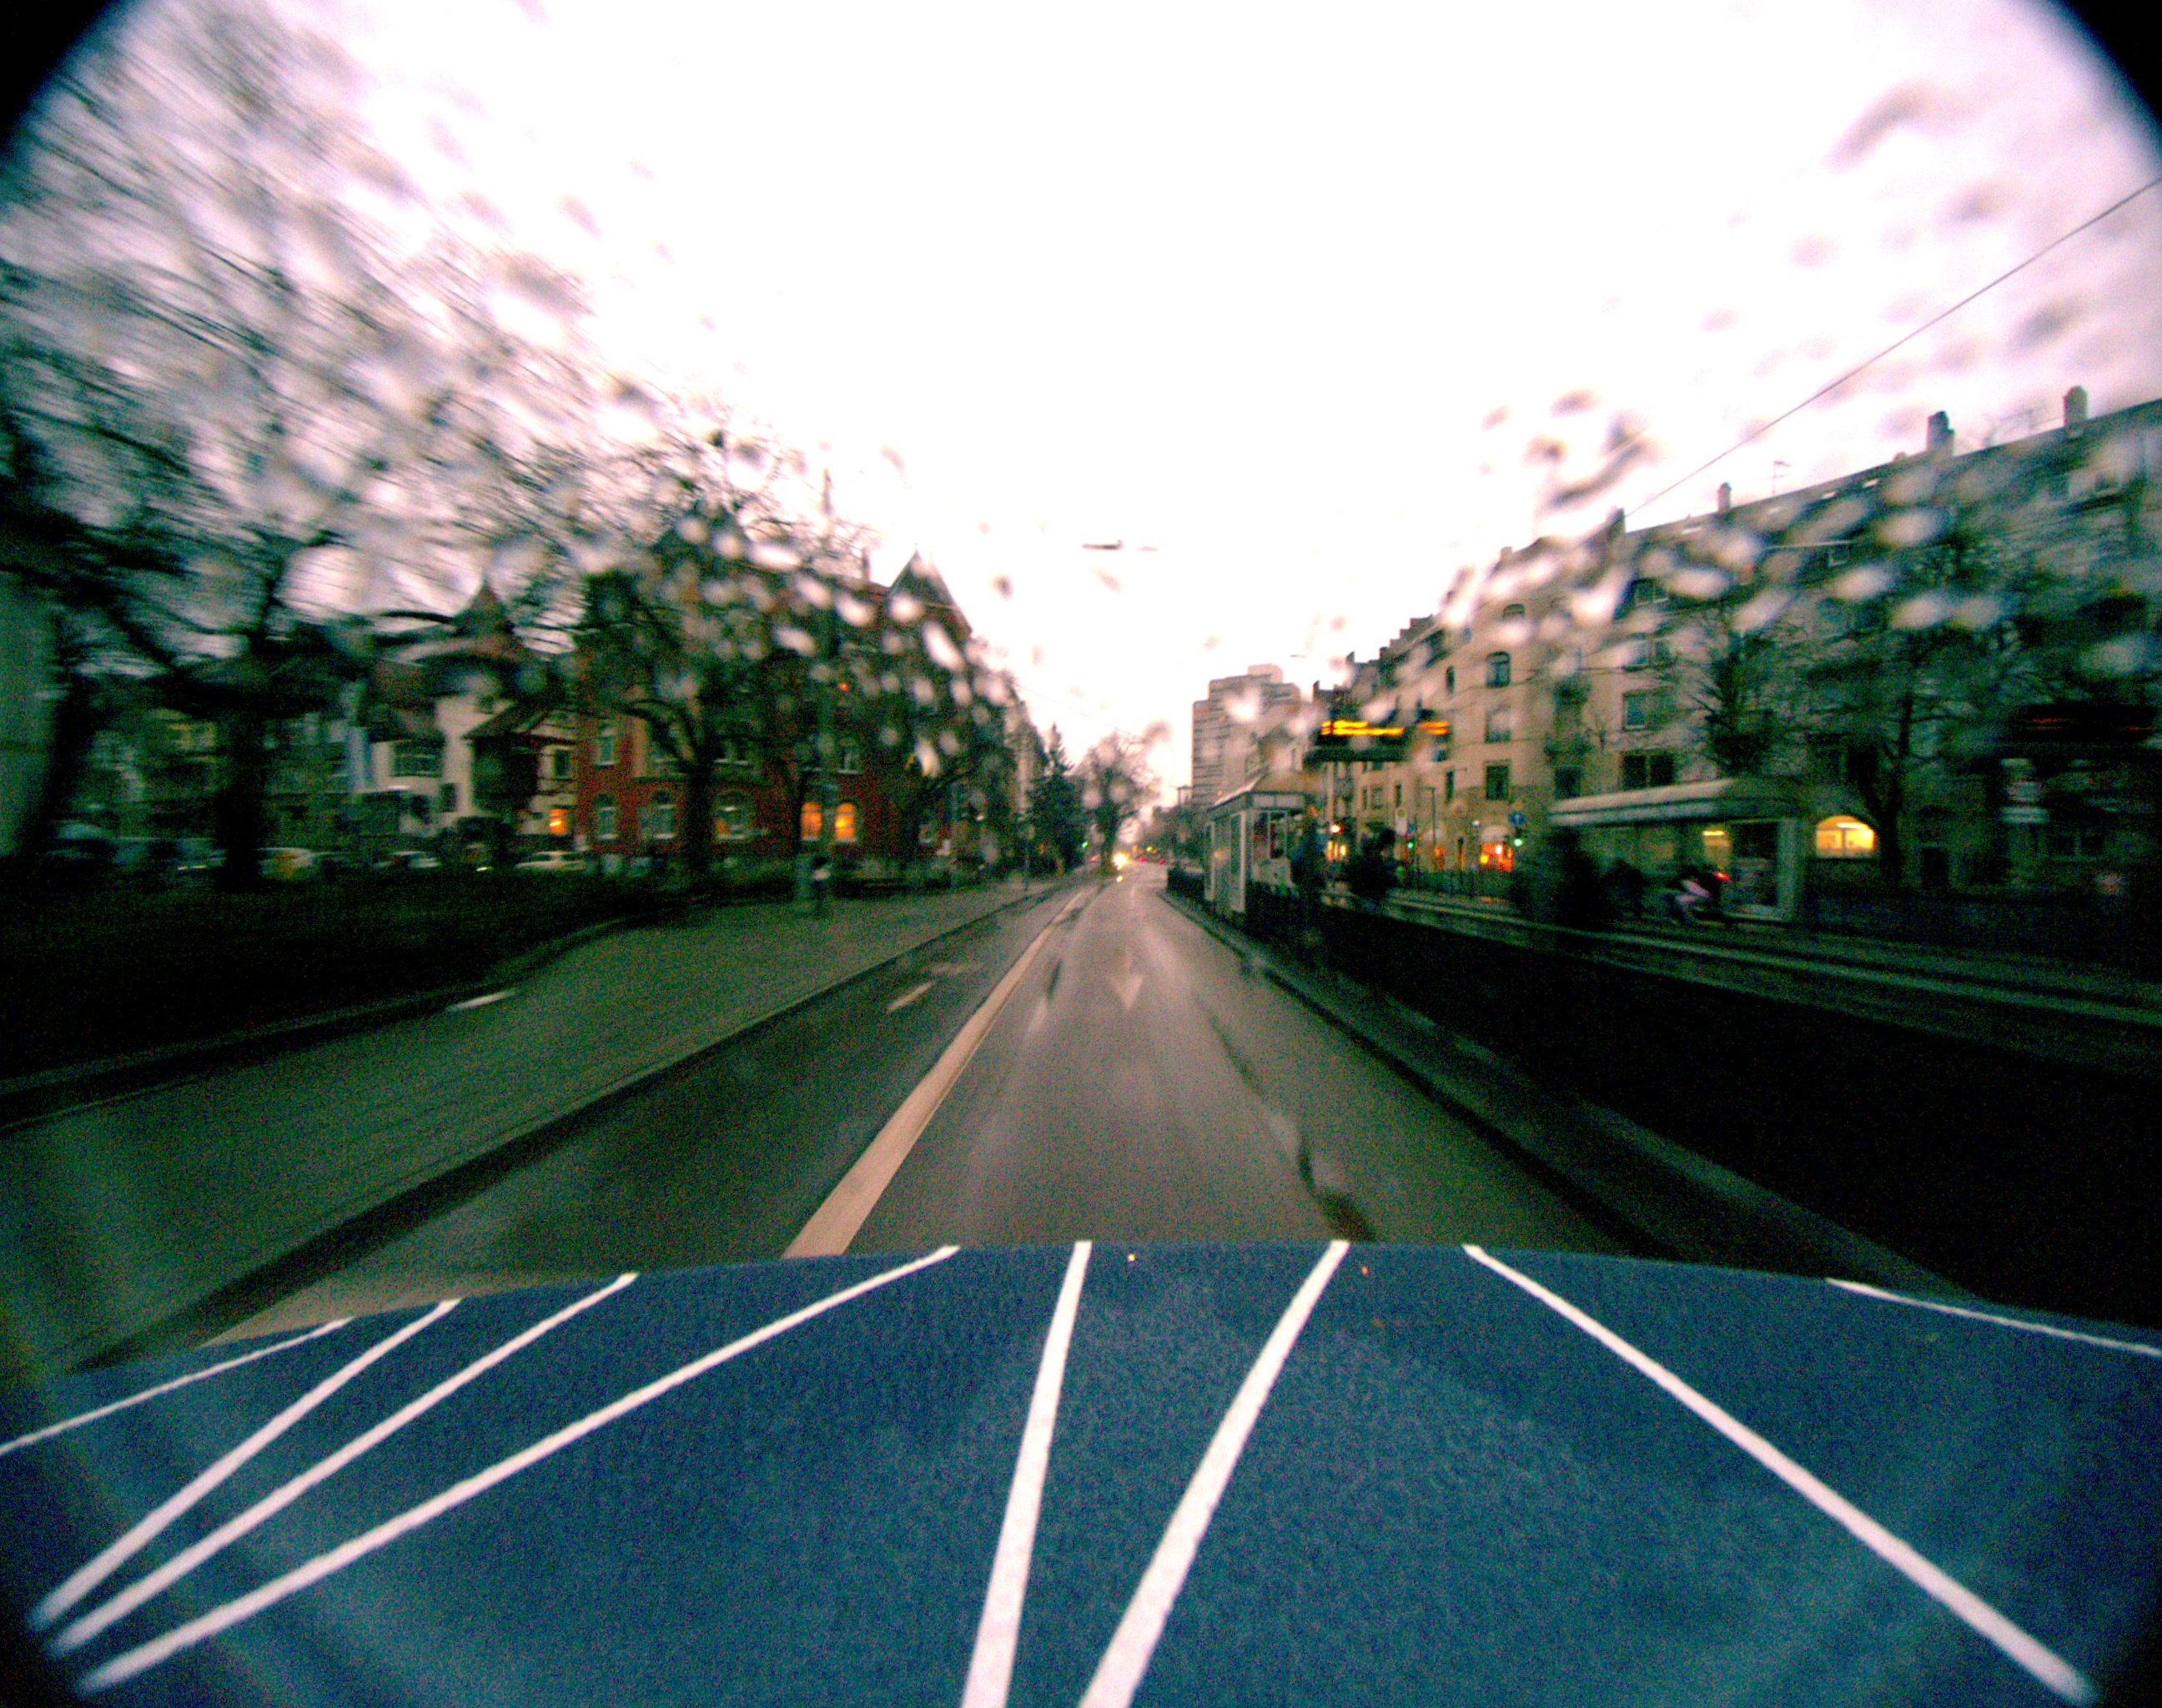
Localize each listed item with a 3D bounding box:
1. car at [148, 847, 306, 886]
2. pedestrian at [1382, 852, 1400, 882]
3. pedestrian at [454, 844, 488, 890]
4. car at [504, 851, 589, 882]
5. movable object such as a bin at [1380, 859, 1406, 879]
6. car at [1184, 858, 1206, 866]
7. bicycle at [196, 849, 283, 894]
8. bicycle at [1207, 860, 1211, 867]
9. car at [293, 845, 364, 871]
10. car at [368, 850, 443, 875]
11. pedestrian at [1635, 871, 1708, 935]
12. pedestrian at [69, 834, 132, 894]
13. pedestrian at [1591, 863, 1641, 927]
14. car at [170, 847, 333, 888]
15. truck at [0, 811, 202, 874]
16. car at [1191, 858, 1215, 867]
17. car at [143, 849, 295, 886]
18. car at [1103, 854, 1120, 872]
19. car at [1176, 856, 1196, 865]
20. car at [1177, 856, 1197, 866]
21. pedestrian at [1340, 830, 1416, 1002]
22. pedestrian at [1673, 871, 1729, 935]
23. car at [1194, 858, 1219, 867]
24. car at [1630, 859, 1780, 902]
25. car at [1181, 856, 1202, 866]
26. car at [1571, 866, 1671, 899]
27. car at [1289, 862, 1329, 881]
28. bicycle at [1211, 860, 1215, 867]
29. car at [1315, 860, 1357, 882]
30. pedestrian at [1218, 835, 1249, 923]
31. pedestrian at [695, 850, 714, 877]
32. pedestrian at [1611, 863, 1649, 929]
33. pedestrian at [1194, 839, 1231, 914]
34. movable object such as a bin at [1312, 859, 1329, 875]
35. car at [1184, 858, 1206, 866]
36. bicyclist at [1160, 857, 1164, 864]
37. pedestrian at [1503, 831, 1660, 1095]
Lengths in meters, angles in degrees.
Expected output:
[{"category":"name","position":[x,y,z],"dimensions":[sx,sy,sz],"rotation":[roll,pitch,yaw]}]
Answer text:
[{"category":"car","position":[-34.865,0.503,31.147],"dimensions":[1.846,1.467,4.008],"rotation":[1,0,30]},{"category":"pedestrian","position":[20.157,0.855,49.353],"dimensions":[0.796,1.867,0.896],"rotation":[-2,1,38]},{"category":"pedestrian","position":[-25.081,0.510,31.264],"dimensions":[0.876,1.853,0.816],"rotation":[1,1,29]},{"category":"car","position":[-27.385,0.627,38.918],"dimensions":[3.990,1.487,1.650],"rotation":[1,0,22]},{"category":"movable object such as a bin","position":[23.193,1.116,56.563],"dimensions":[1.352,1.364,1.281],"rotation":[-2,0,1]},{"category":"car","position":[20.701,1.470,138.278],"dimensions":[3.839,1.405,1.728],"rotation":[-2,0,3]},{"category":"bicycle","position":[-25.493,0.505,23.064],"dimensions":[0.467,1.283,1.914],"rotation":[1,0,2]},{"category":"bicycle","position":[20.254,1.469,120.383],"dimensions":[0.469,1.001,1.881],"rotation":[-2,0,3]},{"category":"car","position":[-47.265,0.253,47.747],"dimensions":[3.990,1.498,1.729],"rotation":[1,0,22]},{"category":"car","position":[-39.165,0.492,44.063],"dimensions":[3.990,1.390,1.650],"rotation":[1,0,22]},{"category":"pedestrian","position":[12.164,0.999,15.670],"dimensions":[1.058,1.247,0.506],"rotation":[-2,0,2]},{"category":"pedestrian","position":[-27.802,0.274,21.547],"dimensions":[1.120,1.633,0.761],"rotation":[1,1,18]},{"category":"pedestrian","position":[12.137,0.915,17.257],"dimensions":[0.685,1.395,0.578],"rotation":[-2,0,2]},{"category":"car","position":[-32.526,0.507,29.913],"dimensions":[1.846,1.477,4.008],"rotation":[1,0,30]},{"category":"truck","position":[-52.627,-0.556,40.674],"dimensions":[2.626,3.074,6.745],"rotation":[1,0,21]},{"category":"car","position":[20.854,1.436,129.635],"dimensions":[3.839,1.405,1.728],"rotation":[1,0,3]},{"category":"car","position":[-36.765,0.543,32.517],"dimensions":[1.846,1.467,4.008],"rotation":[1,0,30]},{"category":"car","position":[3.479,0.971,86.161],"dimensions":[1.726,1.934,4.509],"rotation":[-2,0,1]},{"category":"car","position":[21.486,1.368,155.934],"dimensions":[3.839,1.707,1.727],"rotation":[-2,0,3]},{"category":"car","position":[21.168,1.393,151.988],"dimensions":[3.839,1.707,1.727],"rotation":[-2,0,3]},{"category":"pedestrian","position":[3.223,0.653,8.282],"dimensions":[0.558,1.797,0.571],"rotation":[-2,0,3]},{"category":"pedestrian","position":[12.265,0.967,15.033],"dimensions":[0.654,1.211,0.517],"rotation":[-2,0,2]},{"category":"car","position":[20.945,1.444,126.956],"dimensions":[3.839,1.405,1.727],"rotation":[0,0,3]},{"category":"car","position":[24.845,1.010,30.470],"dimensions":[4.332,1.574,1.941],"rotation":[0,0,28]},{"category":"car","position":[21.700,1.405,149.144],"dimensions":[3.839,1.707,1.728],"rotation":[-2,0,3]},{"category":"car","position":[26.175,1.372,36.853],"dimensions":[3.816,1.464,1.617],"rotation":[-2,0,39]},{"category":"car","position":[18.630,1.401,62.384],"dimensions":[1.806,1.382,4.508],"rotation":[-2,0,-1]},{"category":"bicycle","position":[20.076,1.400,115.441],"dimensions":[0.435,1.001,1.881],"rotation":[-2,0,3]},{"category":"car","position":[19.055,1.222,56.891],"dimensions":[1.677,1.507,3.678],"rotation":[-2,0,-4]},{"category":"pedestrian","position":[3.519,0.569,17.604],"dimensions":[0.558,1.975,0.571],"rotation":[-2,1,3]},{"category":"pedestrian","position":[-18.392,0.462,37.133],"dimensions":[0.545,1.308,0.609],"rotation":[-1,0,22]},{"category":"pedestrian","position":[12.110,0.918,16.770],"dimensions":[0.474,1.395,0.453],"rotation":[-2,0,2]},{"category":"pedestrian","position":[3.501,0.594,20.276],"dimensions":[0.855,1.944,0.571],"rotation":[-2,1,3]},{"category":"movable object such as a bin","position":[21.664,1.177,68.758],"dimensions":[1.239,1.423,1.074],"rotation":[-2,0,1]},{"category":"car","position":[21.461,1.478,142.743],"dimensions":[3.839,1.405,1.727],"rotation":[-2,0,3]},{"category":"bicyclist","position":[17.411,1.412,163.725],"dimensions":[0.657,1.491,0.658],"rotation":[2,1,-6]},{"category":"pedestrian","position":[3.409,0.711,5.223],"dimensions":[0.659,1.698,0.571],"rotation":[-2,0,3]}]
